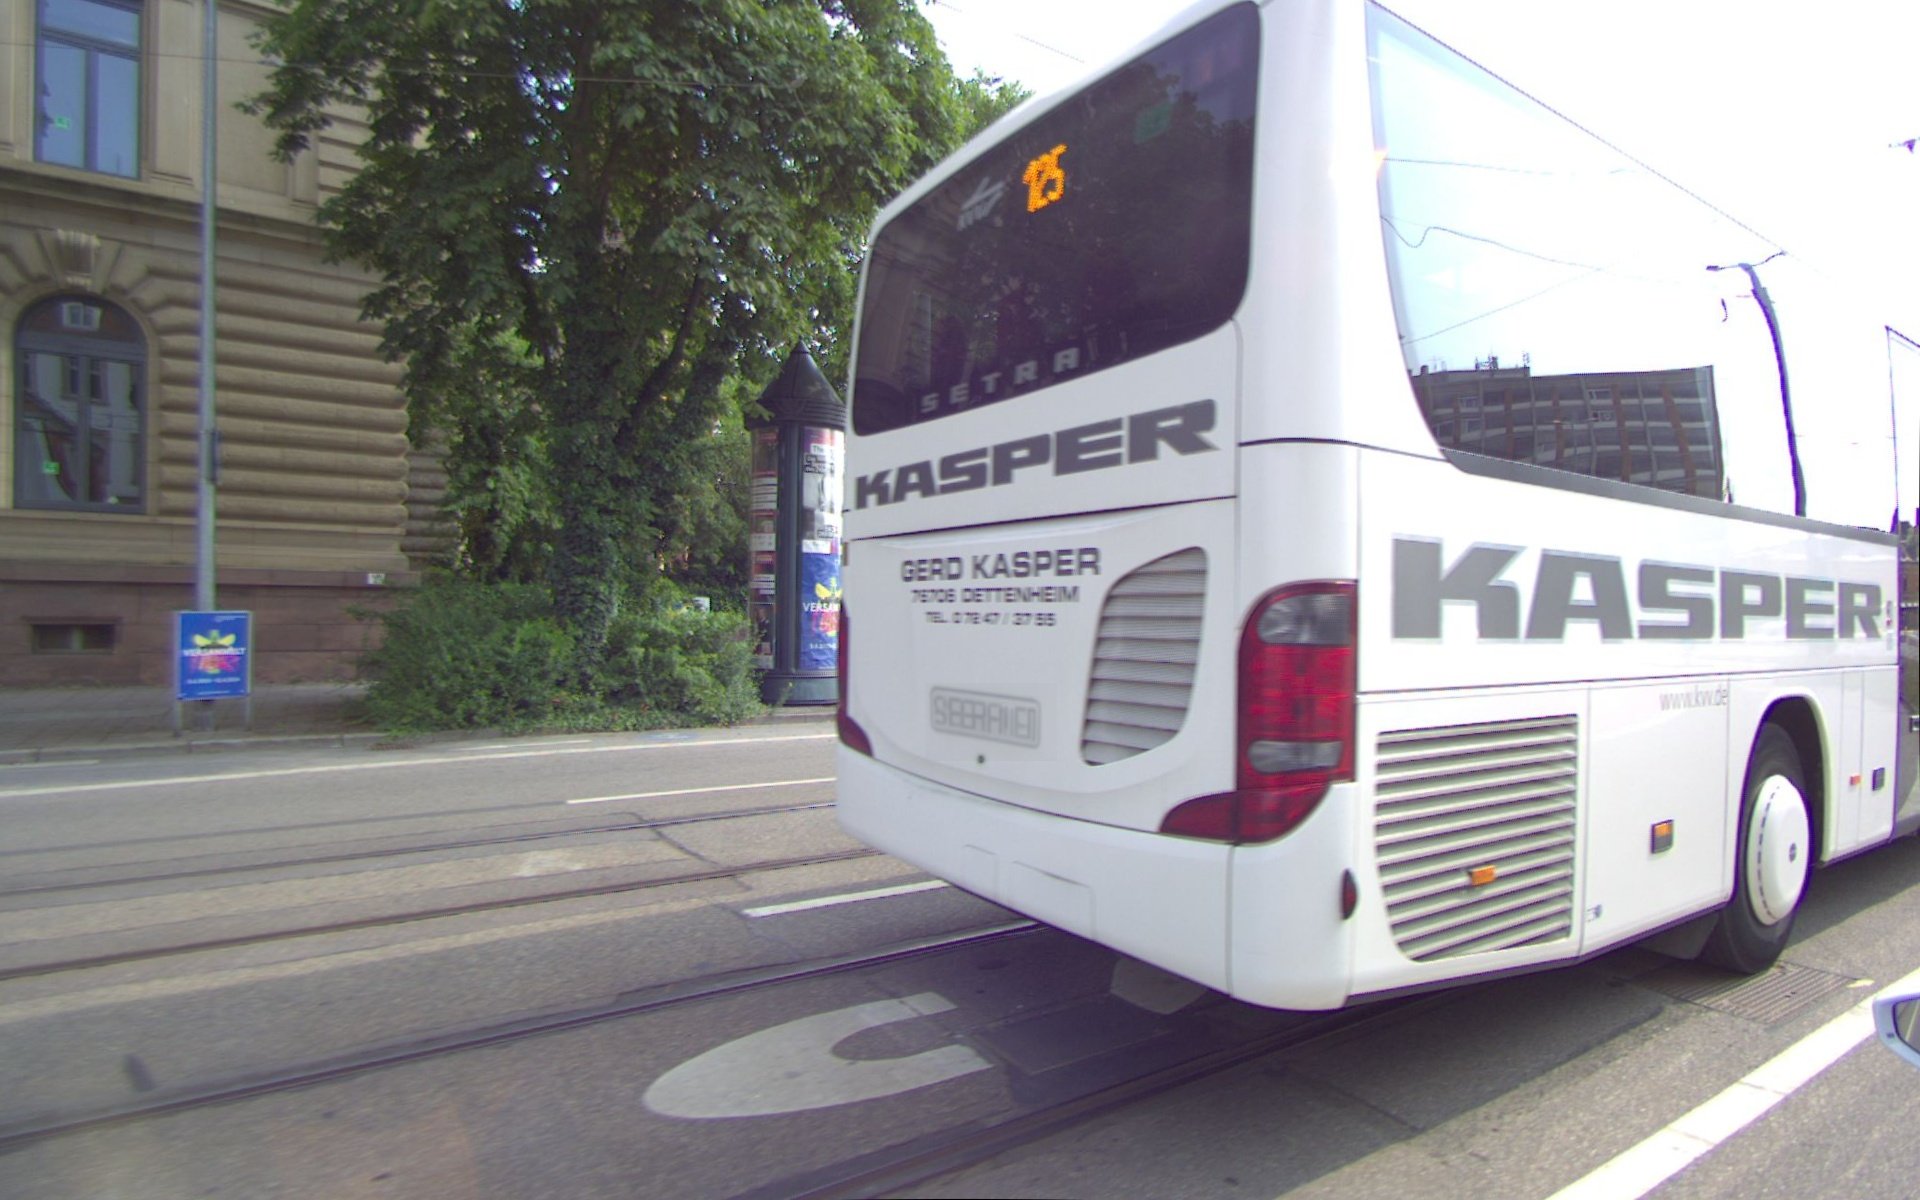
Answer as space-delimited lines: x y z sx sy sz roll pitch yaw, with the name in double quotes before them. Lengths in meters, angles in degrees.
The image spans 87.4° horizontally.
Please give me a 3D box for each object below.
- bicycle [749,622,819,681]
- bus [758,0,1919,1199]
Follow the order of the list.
"bicycle" -3.975 1.127 22.539 0.723 1.184 2.100 2 0 -34
"bus" 4.905 -0.175 6.754 12.081 3.372 2.899 2 0 -35
